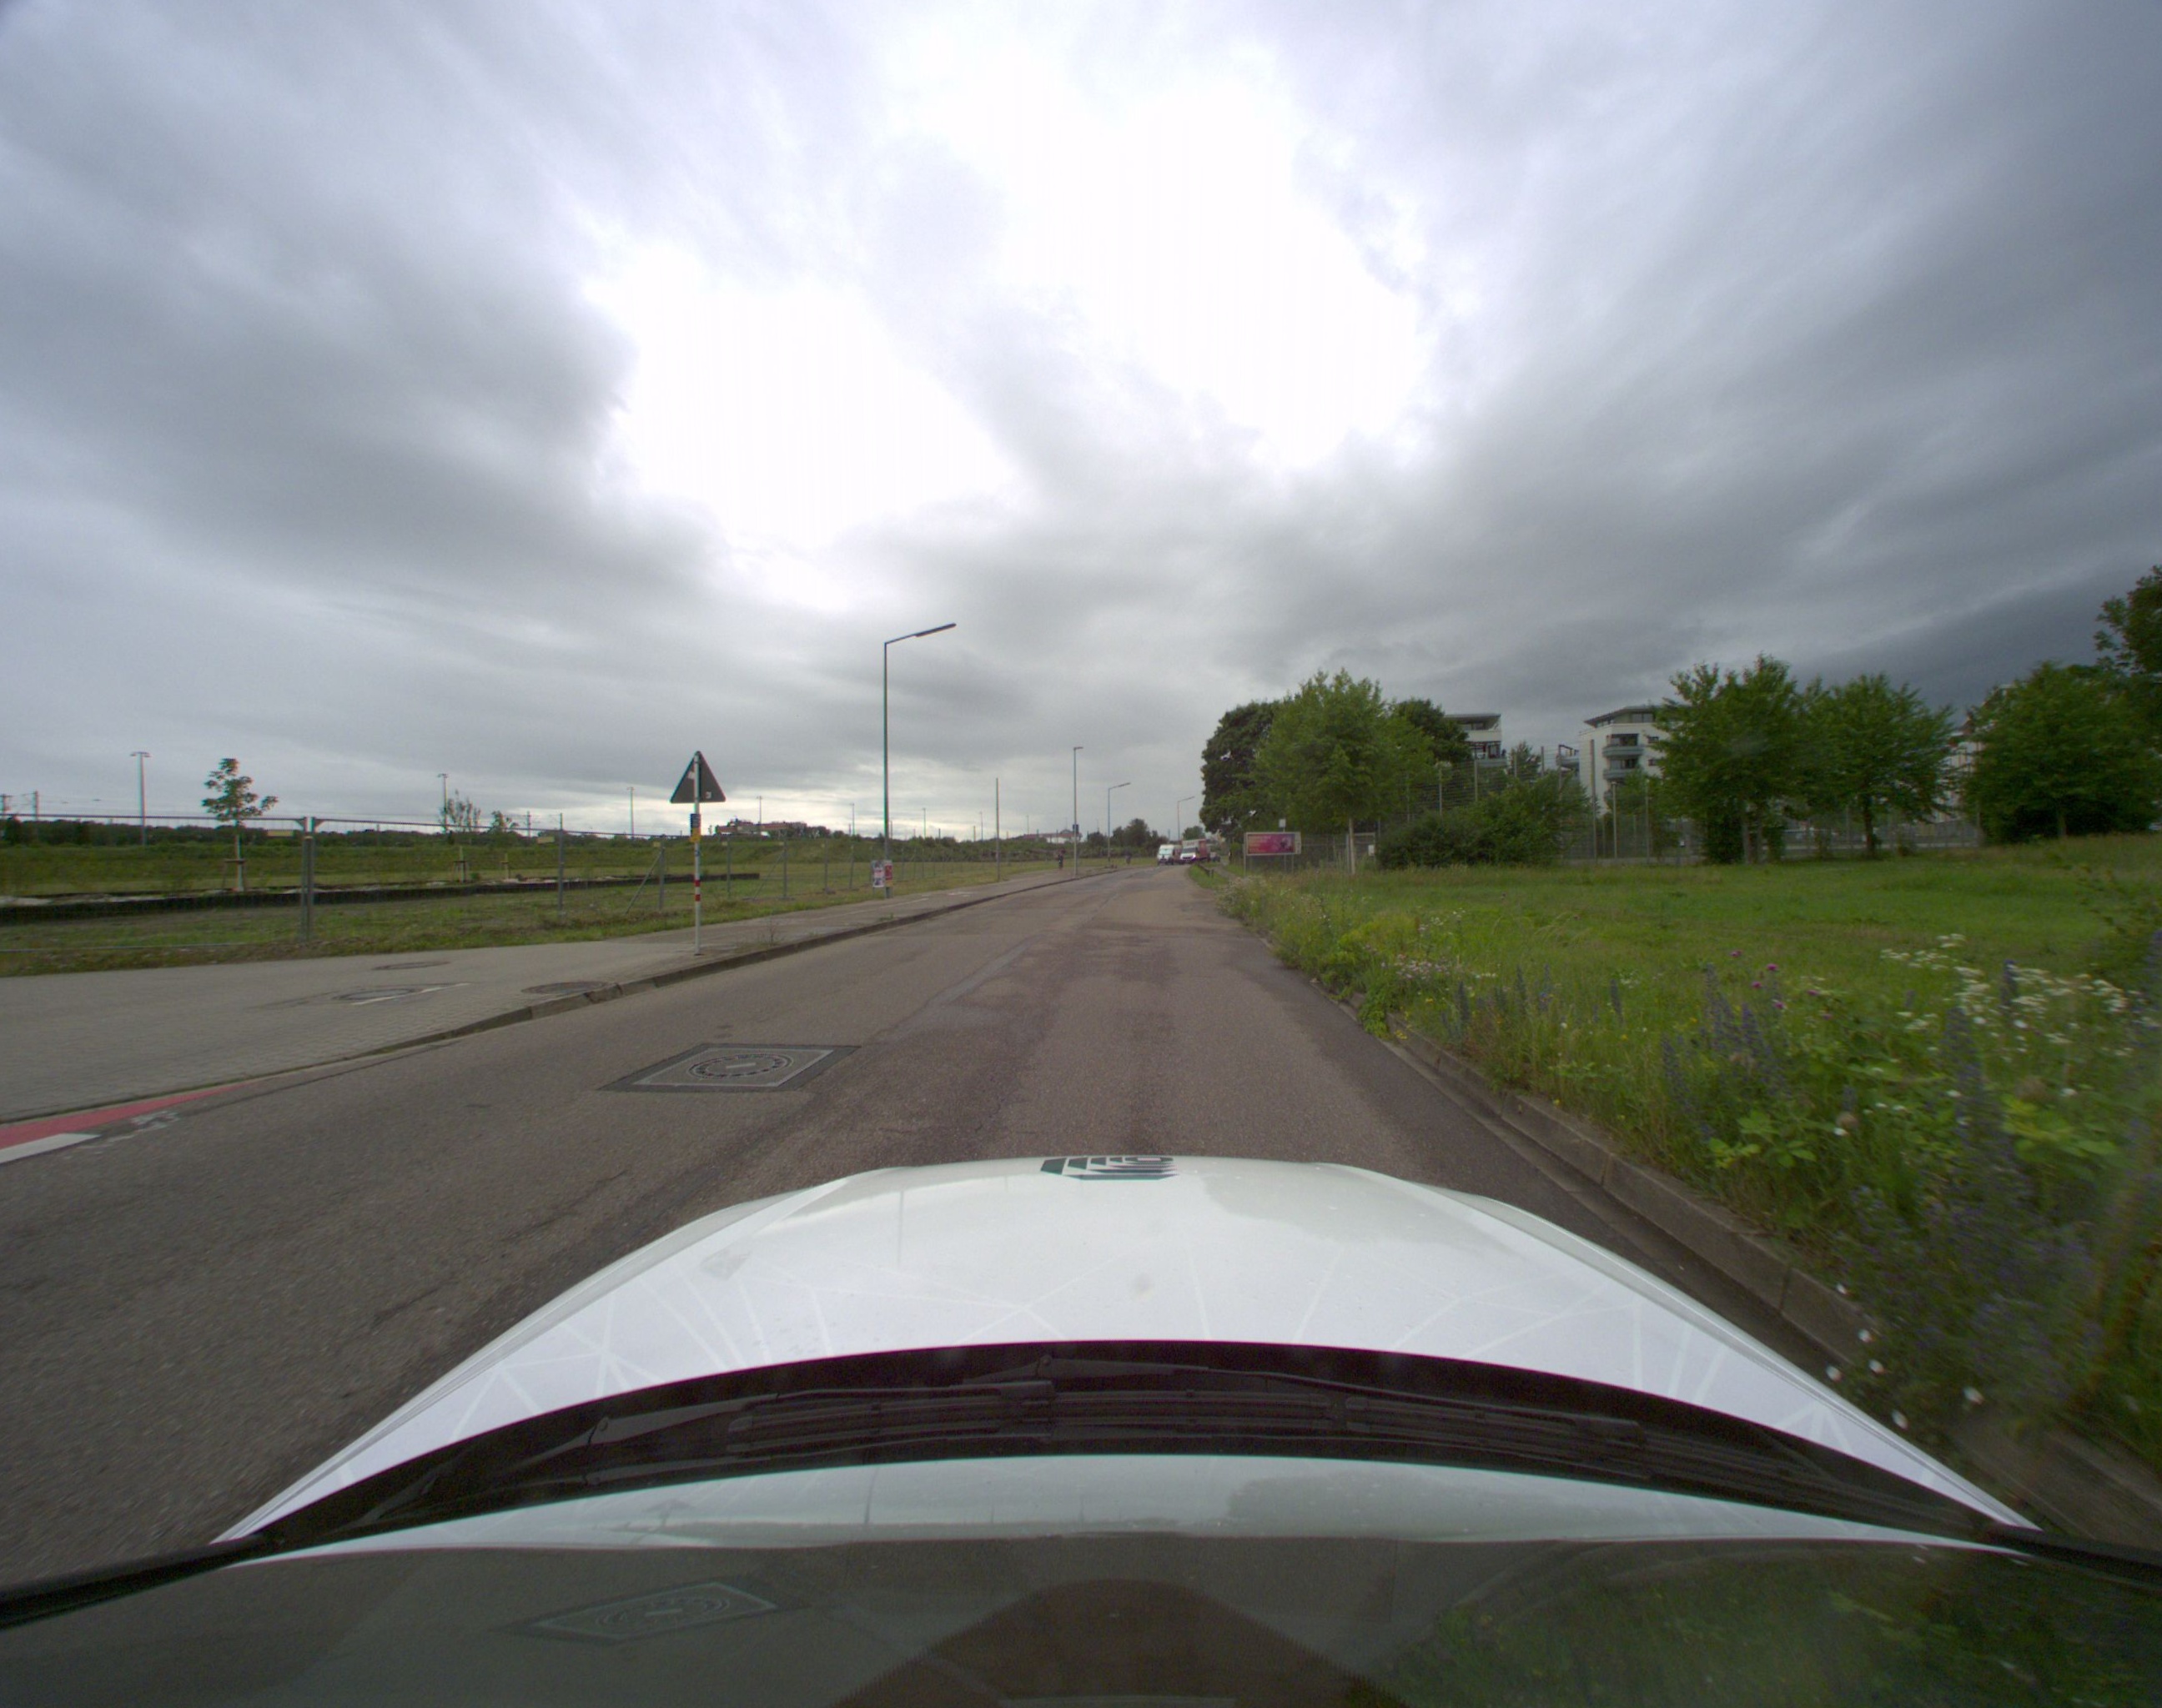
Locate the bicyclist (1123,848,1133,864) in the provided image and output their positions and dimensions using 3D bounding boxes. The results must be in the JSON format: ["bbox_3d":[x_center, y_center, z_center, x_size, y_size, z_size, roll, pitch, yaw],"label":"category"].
[{"bbox_3d":[5.612,0.256,96.182,0.820,1.821,1.337,-1,0,18],"label":"bicyclist"}]

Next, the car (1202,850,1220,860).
[{"bbox_3d":[19.967,0.173,124.865,1.764,1.504,4.022,-1,0,23],"label":"car"}]

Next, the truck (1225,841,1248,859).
[{"bbox_3d":[27.519,-0.690,144.184,2.440,3.060,8.205,-1,0,21],"label":"truck"}]

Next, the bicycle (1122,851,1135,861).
[{"bbox_3d":[5.642,0.247,96.292,0.812,1.204,2.569,-1,1,19],"label":"bicycle"}]

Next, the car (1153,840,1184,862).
[{"bbox_3d":[11.113,-0.417,102.900,2.270,2.555,6.442,-1,0,20],"label":"car"}]

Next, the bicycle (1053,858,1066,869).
[{"bbox_3d":[-1.884,0.844,70.480,0.799,0.907,2.237,-1,1,7],"label":"bicycle"}]

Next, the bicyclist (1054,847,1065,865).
[{"bbox_3d":[-1.886,0.146,70.507,0.778,1.526,1.096,-1,0,6],"label":"bicyclist"}]

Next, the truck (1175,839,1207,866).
[{"bbox_3d":[13.798,-0.245,101.494,2.321,3.062,7.533,-4,0,19],"label":"truck"}]
